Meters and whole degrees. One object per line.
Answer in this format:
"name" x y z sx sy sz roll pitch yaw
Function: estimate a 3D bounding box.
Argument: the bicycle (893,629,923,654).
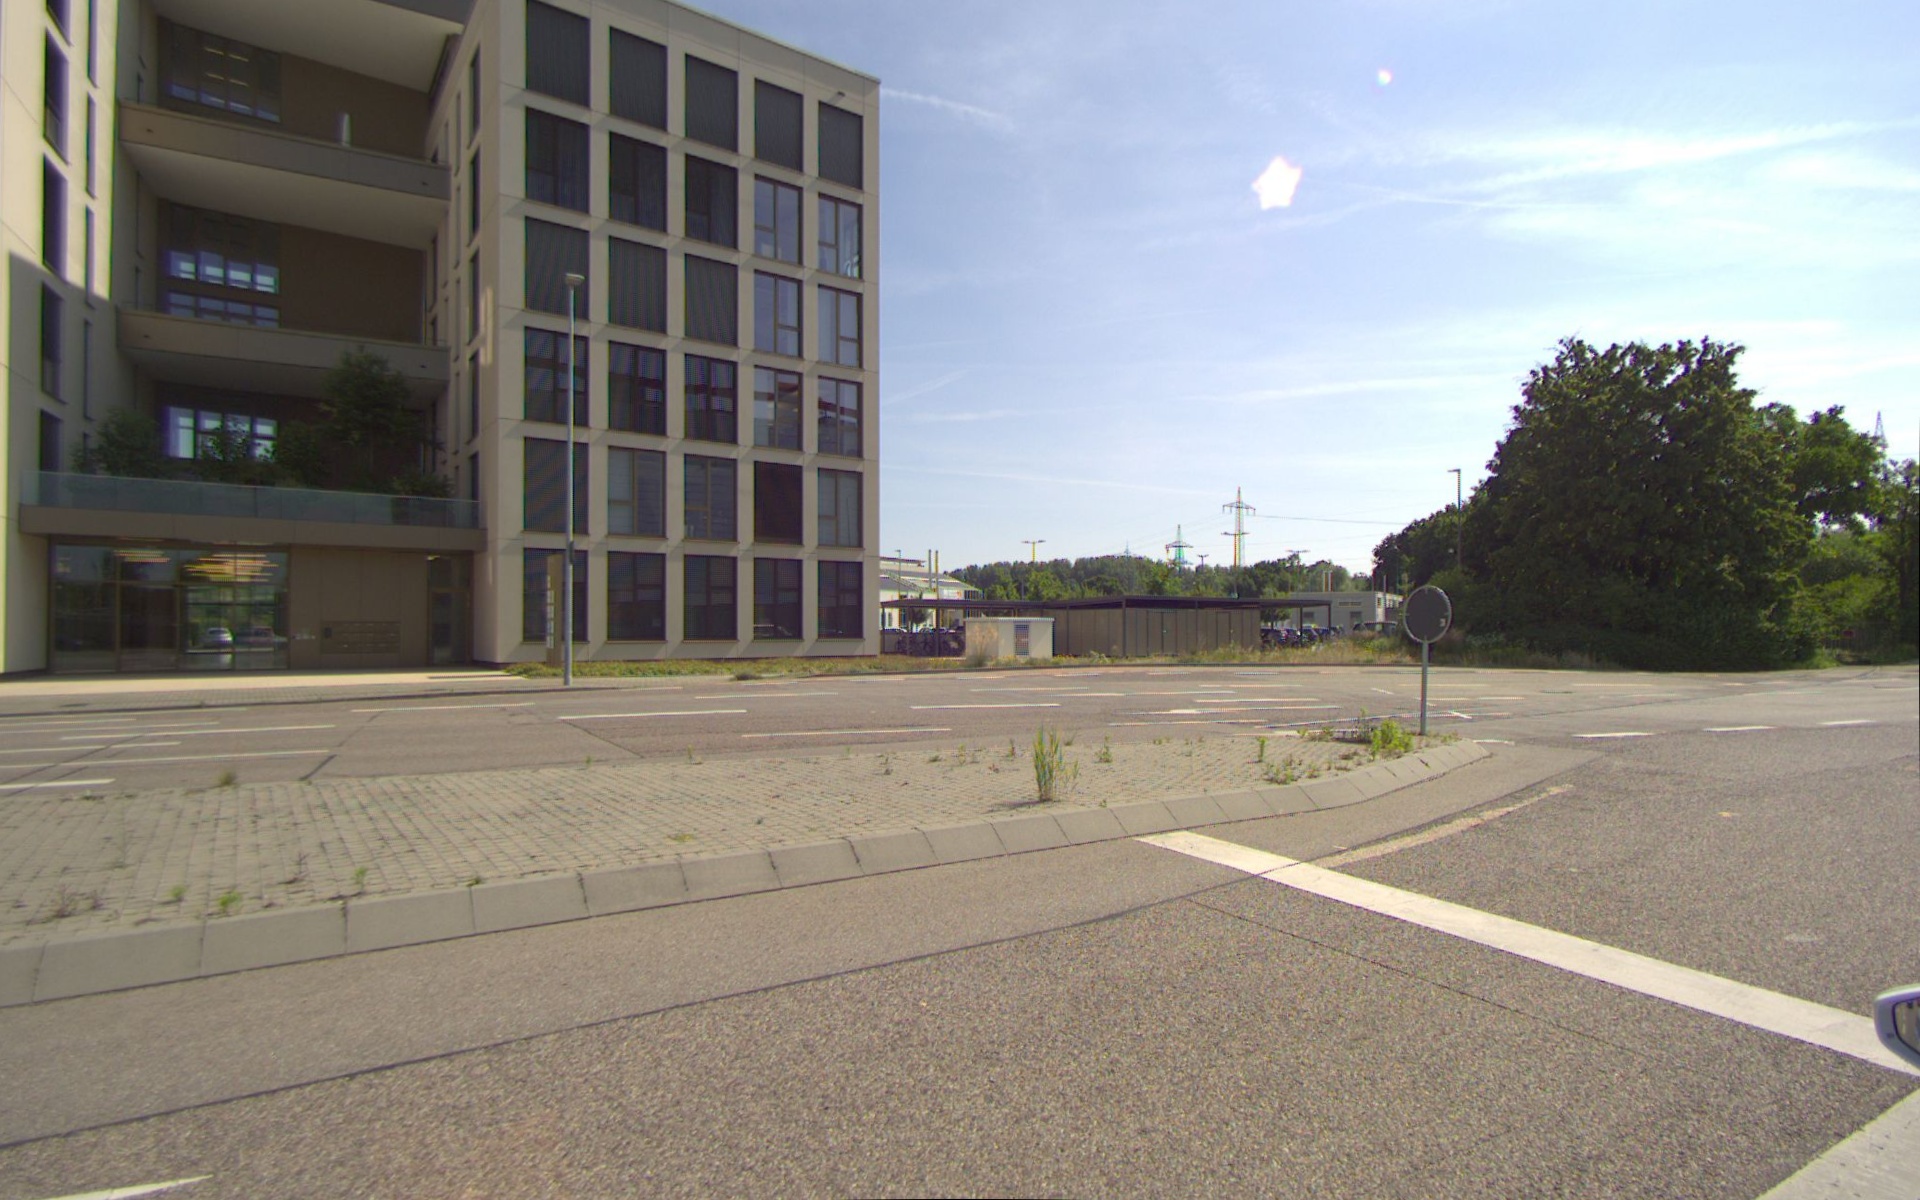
"bicycle" -2.382 1.871 45.572 0.582 1.106 1.692 1 -1 -34

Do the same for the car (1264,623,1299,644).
"car" 23.702 2.497 74.045 1.697 1.438 3.916 0 -2 29

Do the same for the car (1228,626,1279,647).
"car" 16.532 2.049 56.559 2.797 1.128 1.250 1 -1 -30

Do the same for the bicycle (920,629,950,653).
"bicycle" -1.182 1.893 46.662 0.582 1.106 1.692 1 -1 -34

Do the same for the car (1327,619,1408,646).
"car" 23.410 1.855 57.731 4.045 1.438 1.723 0 -3 36

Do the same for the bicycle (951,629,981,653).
"bicycle" 0.288 1.926 47.469 0.582 1.106 1.692 1 -1 -34

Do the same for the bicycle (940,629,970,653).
"bicycle" -0.232 1.919 47.102 0.582 1.106 1.692 1 -1 -34

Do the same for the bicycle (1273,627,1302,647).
"bicycle" 18.037 2.032 55.323 1.689 1.106 0.583 1 -2 -33
